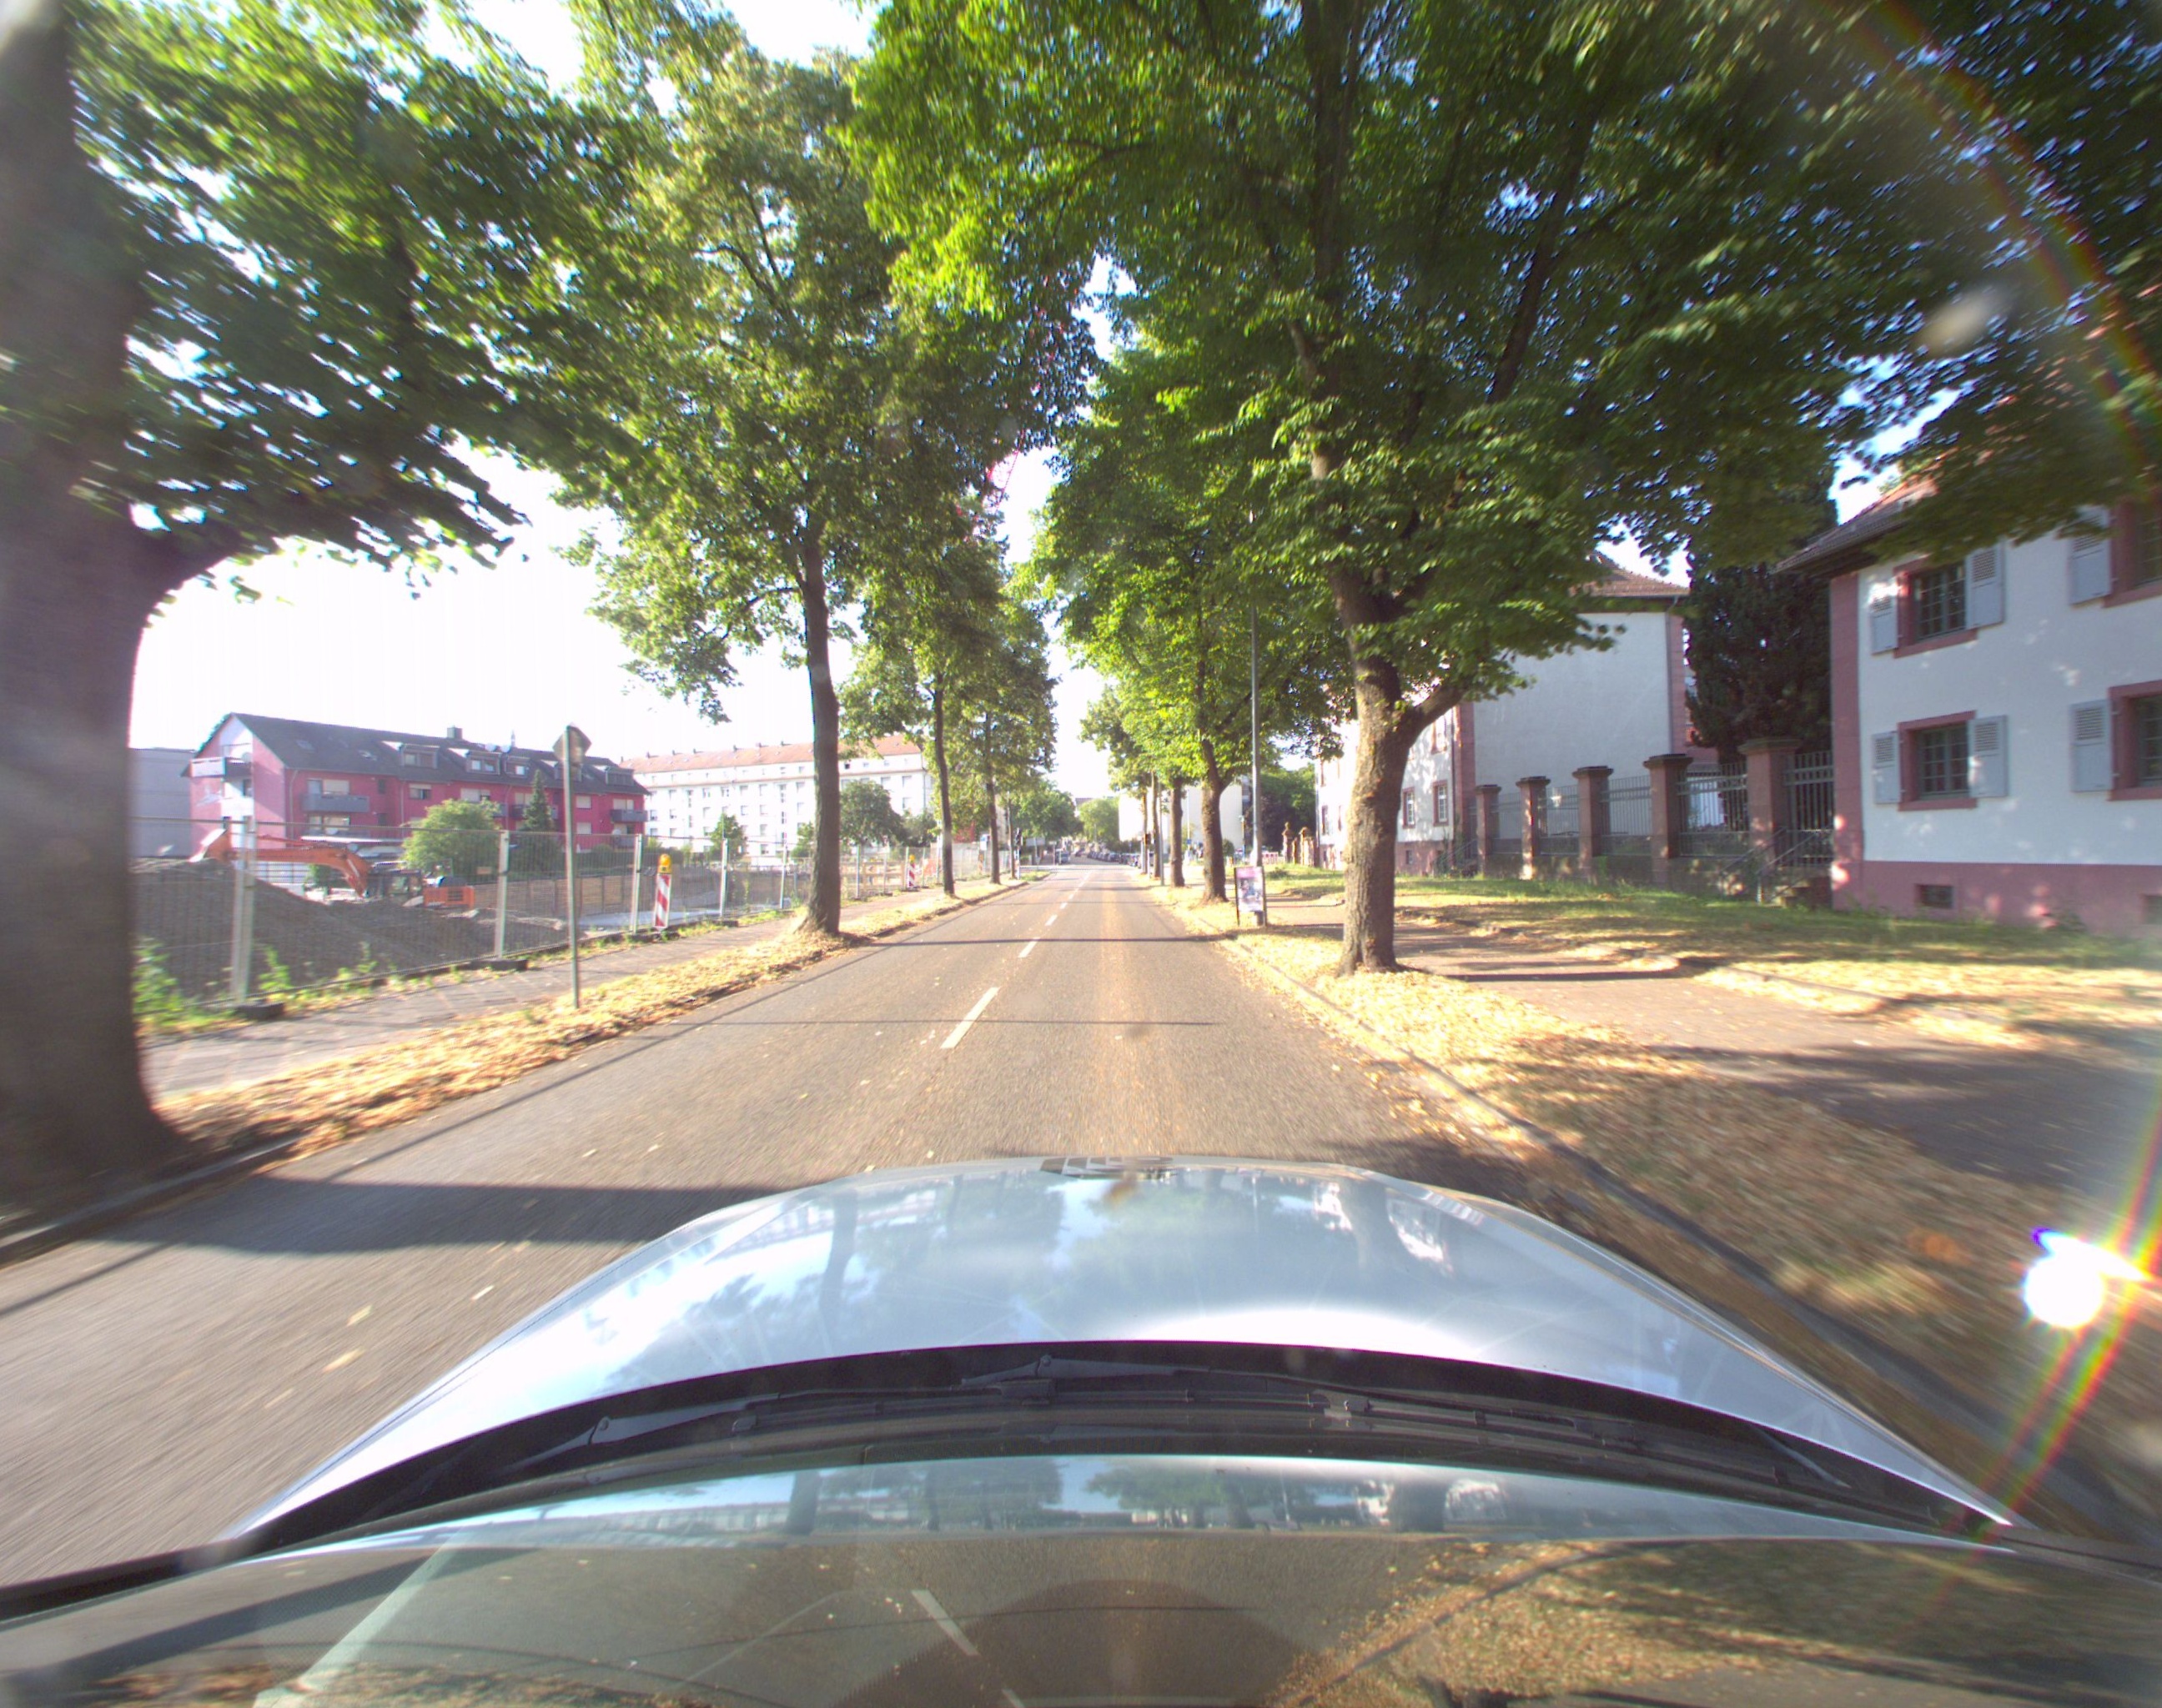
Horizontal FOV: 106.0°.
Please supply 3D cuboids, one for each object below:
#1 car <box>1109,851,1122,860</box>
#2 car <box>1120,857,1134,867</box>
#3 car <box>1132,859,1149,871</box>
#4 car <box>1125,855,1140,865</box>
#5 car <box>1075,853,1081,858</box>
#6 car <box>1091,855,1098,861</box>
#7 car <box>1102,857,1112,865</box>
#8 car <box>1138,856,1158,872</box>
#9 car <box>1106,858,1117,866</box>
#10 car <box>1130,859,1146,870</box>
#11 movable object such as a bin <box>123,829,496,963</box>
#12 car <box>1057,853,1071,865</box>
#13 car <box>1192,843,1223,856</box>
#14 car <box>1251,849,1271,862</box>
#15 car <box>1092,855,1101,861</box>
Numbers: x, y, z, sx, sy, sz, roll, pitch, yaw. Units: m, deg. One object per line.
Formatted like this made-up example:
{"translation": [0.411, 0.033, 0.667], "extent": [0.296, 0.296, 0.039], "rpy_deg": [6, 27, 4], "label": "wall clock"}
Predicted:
{"translation": [5.805, 0.272, 138.706], "extent": [1.836, 1.386, 3.997], "rpy_deg": [-2, -1, -2], "label": "car"}
{"translation": [6.825, 1.171, 120.311], "extent": [1.835, 1.261, 4.001], "rpy_deg": [-2, 0, 1], "label": "car"}
{"translation": [7.092, 1.306, 97.676], "extent": [1.773, 1.227, 4.001], "rpy_deg": [-2, 0, 1], "label": "car"}
{"translation": [7.128, 0.861, 113.443], "extent": [1.835, 1.261, 4.001], "rpy_deg": [-2, 0, 1], "label": "car"}
{"translation": [-0.808, 0.410, 237.476], "extent": [1.710, 1.486, 3.997], "rpy_deg": [-3, -1, -2], "label": "car"}
{"translation": [3.451, 0.965, 211.781], "extent": [1.835, 1.386, 3.999], "rpy_deg": [-3, 0, 0], "label": "car"}
{"translation": [5.125, 1.400, 161.487], "extent": [1.836, 1.386, 3.997], "rpy_deg": [-2, -1, -2], "label": "car"}
{"translation": [7.100, 1.066, 86.434], "extent": [1.835, 1.574, 4.001], "rpy_deg": [-2, -1, 1], "label": "car"}
{"translation": [5.560, 1.494, 149.304], "extent": [1.836, 1.386, 3.997], "rpy_deg": [-2, -1, -2], "label": "car"}
{"translation": [7.212, 1.362, 102.975], "extent": [1.835, 1.261, 4.001], "rpy_deg": [-2, 0, 1], "label": "car"}
{"translation": [-33.420, 1.504, 36.407], "extent": [2.982, 4.993, 11.627], "rpy_deg": [-4, 0, 24], "label": "movable object such as a bin"}
{"translation": [-2.667, 0.802, 125.793], "extent": [1.990, 1.687, 3.994], "rpy_deg": [-2, -1, -4], "label": "car"}
{"translation": [17.159, -0.659, 110.645], "extent": [3.971, 1.728, 1.774], "rpy_deg": [0, -1, 2], "label": "car"}
{"translation": [21.646, 0.183, 98.020], "extent": [1.804, 1.559, 3.629], "rpy_deg": [0, -1, 4], "label": "car"}
{"translation": [3.480, 0.952, 188.735], "extent": [1.836, 1.386, 3.997], "rpy_deg": [-2, -1, -2], "label": "car"}
